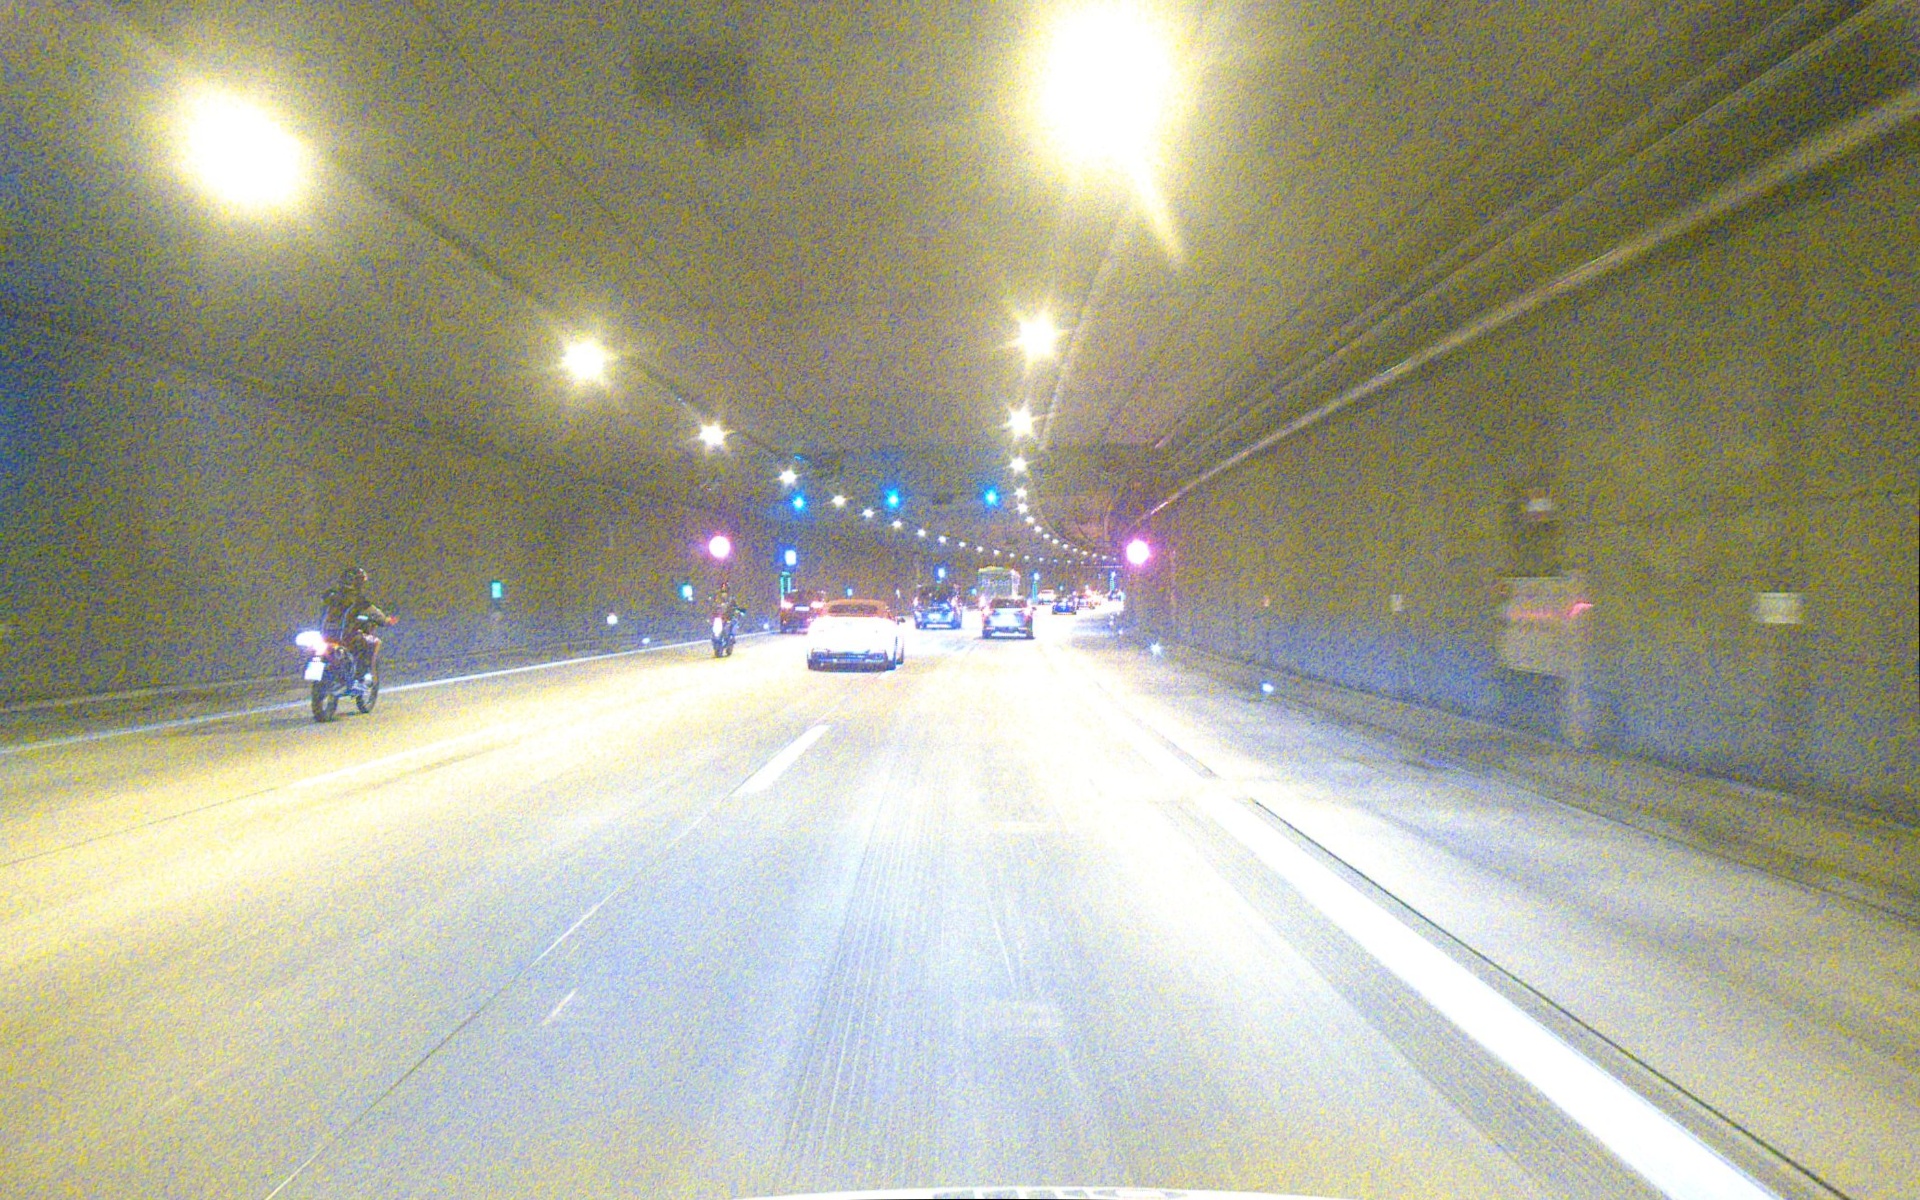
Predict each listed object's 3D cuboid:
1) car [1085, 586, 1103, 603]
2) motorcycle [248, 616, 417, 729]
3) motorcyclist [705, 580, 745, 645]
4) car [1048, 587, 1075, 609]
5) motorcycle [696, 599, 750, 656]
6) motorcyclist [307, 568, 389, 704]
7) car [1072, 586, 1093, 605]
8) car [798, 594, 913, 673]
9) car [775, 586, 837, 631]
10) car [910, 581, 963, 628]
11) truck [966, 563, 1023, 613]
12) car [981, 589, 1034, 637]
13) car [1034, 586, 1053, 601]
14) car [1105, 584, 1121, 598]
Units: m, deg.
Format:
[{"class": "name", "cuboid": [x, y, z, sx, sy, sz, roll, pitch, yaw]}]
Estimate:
[{"class": "car", "cuboid": [14.943, -0.619, 184.127, 1.923, 1.781, 4.003, -2, 0, 6]}, {"class": "motorcycle", "cuboid": [-7.089, 0.782, 18.858, 1.032, 1.178, 2.427, 0, 0, -1]}, {"class": "motorcyclist", "cuboid": [-5.556, 0.277, 39.099, 0.822, 1.503, 0.822, 0, 1, 1]}, {"class": "car", "cuboid": [7.622, -0.141, 124.312, 1.805, 1.595, 4.001, -2, 0, 2]}, {"class": "motorcycle", "cuboid": [-5.564, 0.624, 38.939, 0.828, 1.267, 2.605, -1, 0, 1]}, {"class": "motorcyclist", "cuboid": [-7.000, 0.396, 18.937, 0.614, 1.515, 0.890, 0, 0, -1]}, {"class": "car", "cuboid": [11.330, -0.406, 152.347, 1.819, 1.695, 4.003, -2, 0, 5]}, {"class": "car", "cuboid": [-2.103, 0.641, 34.299, 1.952, 1.509, 4.001, 1, 0, 2]}, {"class": "car", "cuboid": [-5.726, 0.297, 61.710, 1.748, 1.626, 3.803, 0, 0, 3]}, {"class": "car", "cuboid": [-1.006, 0.177, 73.166, 1.951, 2.006, 4.003, 0, 0, 5]}, {"class": "truck", "cuboid": [2.527, -0.905, 116.498, 3.017, 3.167, 10.037, -3, 1, 6]}, {"class": "car", "cuboid": [1.704, 0.447, 58.819, 1.801, 1.630, 4.001, 0, 0, 2]}, {"class": "car", "cuboid": [9.207, -0.724, 181.874, 1.791, 1.646, 4.003, -2, 0, 6]}, {"class": "car", "cuboid": [19.556, -1.158, 211.280, 1.794, 1.720, 4.003, -2, 0, 6]}]
